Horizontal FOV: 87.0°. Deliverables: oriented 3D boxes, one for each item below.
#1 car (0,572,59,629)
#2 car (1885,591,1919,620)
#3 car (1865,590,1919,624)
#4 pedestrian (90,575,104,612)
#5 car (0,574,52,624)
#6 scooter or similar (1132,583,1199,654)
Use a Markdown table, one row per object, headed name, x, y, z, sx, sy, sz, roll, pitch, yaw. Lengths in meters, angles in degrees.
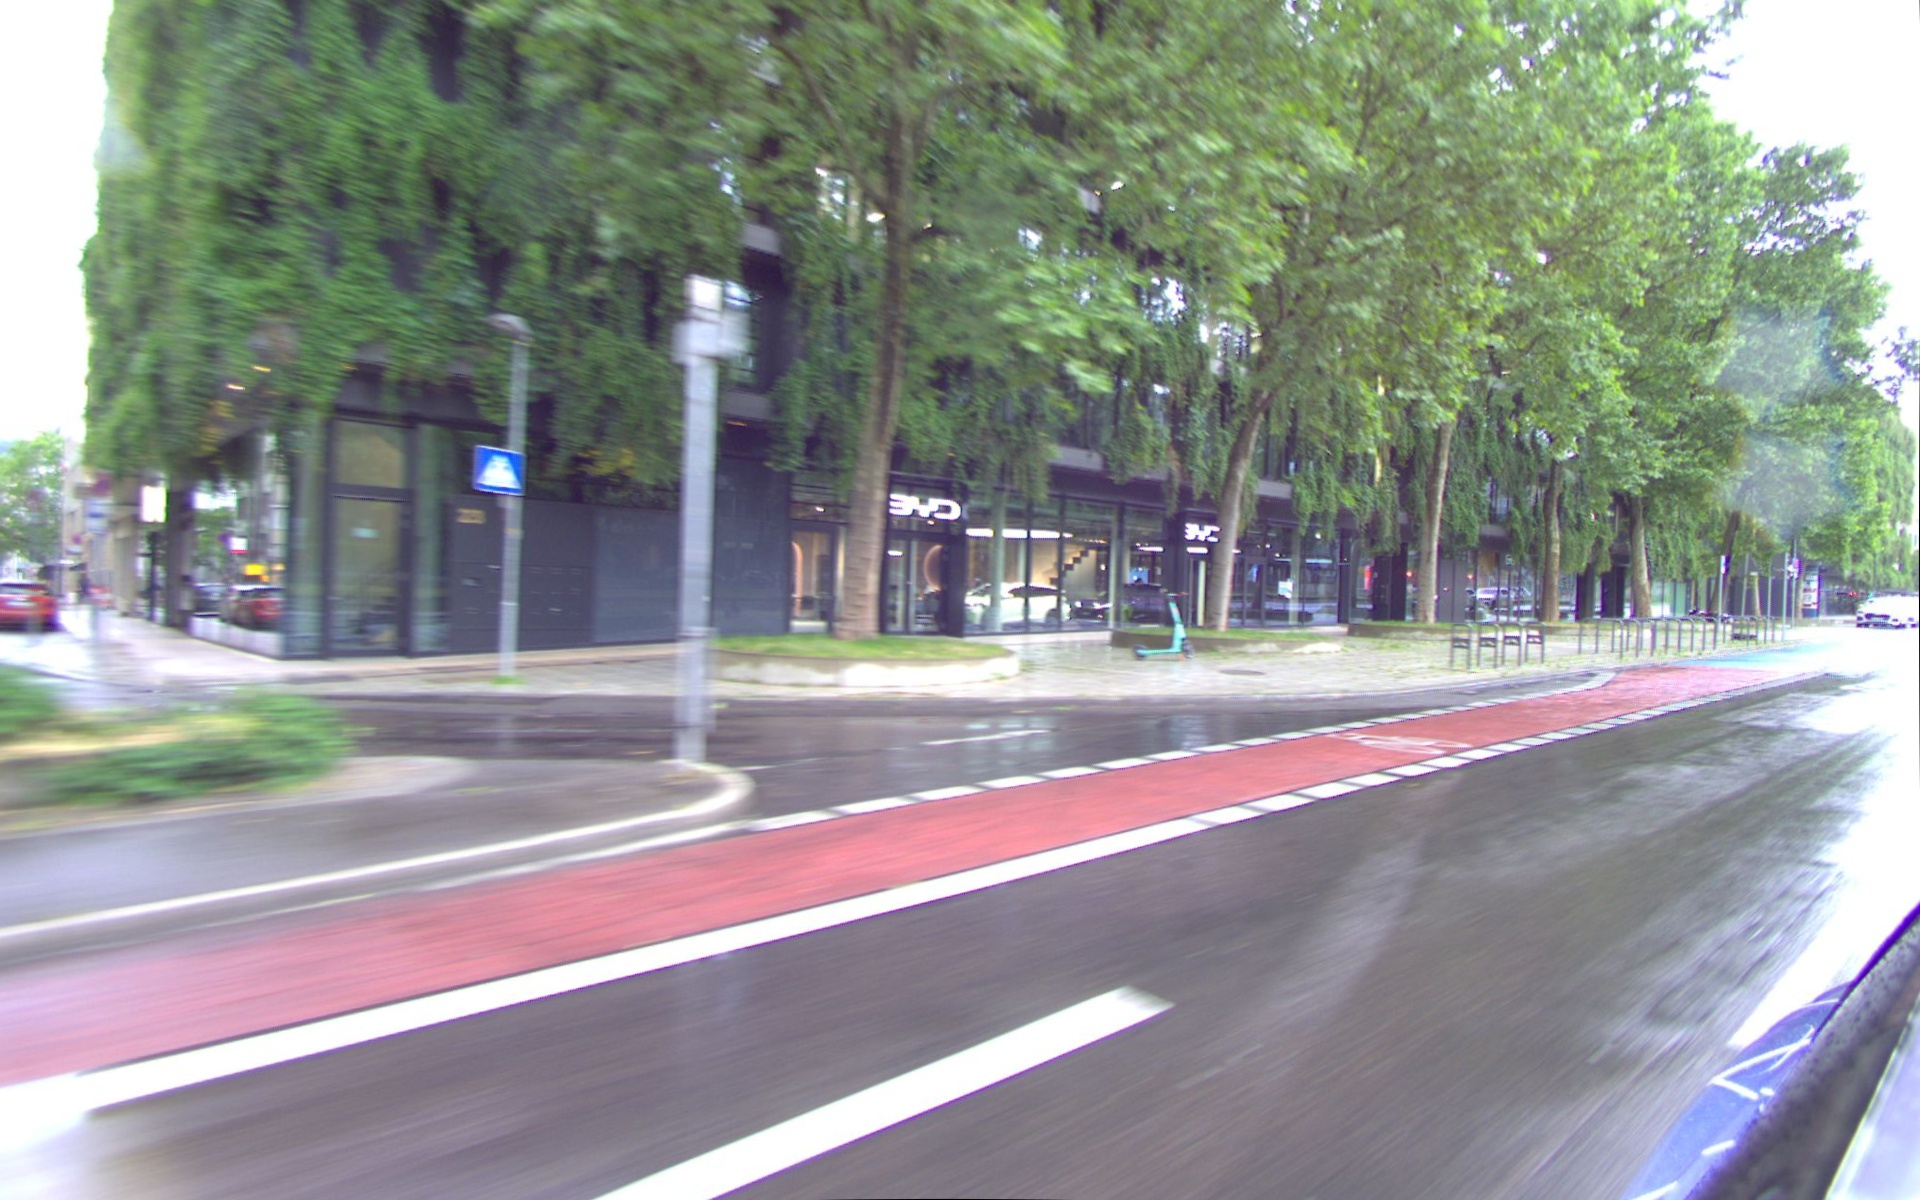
| name | x | y | z | sx | sy | sz | roll | pitch | yaw |
| --- | --- | --- | --- | --- | --- | --- | --- | --- | --- |
| car | -28.135 | 0.015 | 30.180 | 1.814 | 1.609 | 3.991 | -1 | 0 | -43 |
| car | 56.307 | 0.302 | 59.681 | 4.504 | 1.581 | 2.035 | -1 | 0 | -40 |
| car | 51.644 | 0.334 | 55.941 | 4.521 | 1.758 | 1.930 | -1 | 0 | -42 |
| pedestrian | -34.612 | -0.247 | 40.577 | 0.413 | 1.474 | 0.426 | -1 | 0 | -43 |
| car | -31.877 | -0.037 | 34.040 | 3.789 | 1.609 | 1.757 | 0 | 0 | 45 |
| scooter or similar | 3.801 | 0.335 | 18.765 | 1.165 | 1.298 | 0.535 | 0 | 0 | 9 |
